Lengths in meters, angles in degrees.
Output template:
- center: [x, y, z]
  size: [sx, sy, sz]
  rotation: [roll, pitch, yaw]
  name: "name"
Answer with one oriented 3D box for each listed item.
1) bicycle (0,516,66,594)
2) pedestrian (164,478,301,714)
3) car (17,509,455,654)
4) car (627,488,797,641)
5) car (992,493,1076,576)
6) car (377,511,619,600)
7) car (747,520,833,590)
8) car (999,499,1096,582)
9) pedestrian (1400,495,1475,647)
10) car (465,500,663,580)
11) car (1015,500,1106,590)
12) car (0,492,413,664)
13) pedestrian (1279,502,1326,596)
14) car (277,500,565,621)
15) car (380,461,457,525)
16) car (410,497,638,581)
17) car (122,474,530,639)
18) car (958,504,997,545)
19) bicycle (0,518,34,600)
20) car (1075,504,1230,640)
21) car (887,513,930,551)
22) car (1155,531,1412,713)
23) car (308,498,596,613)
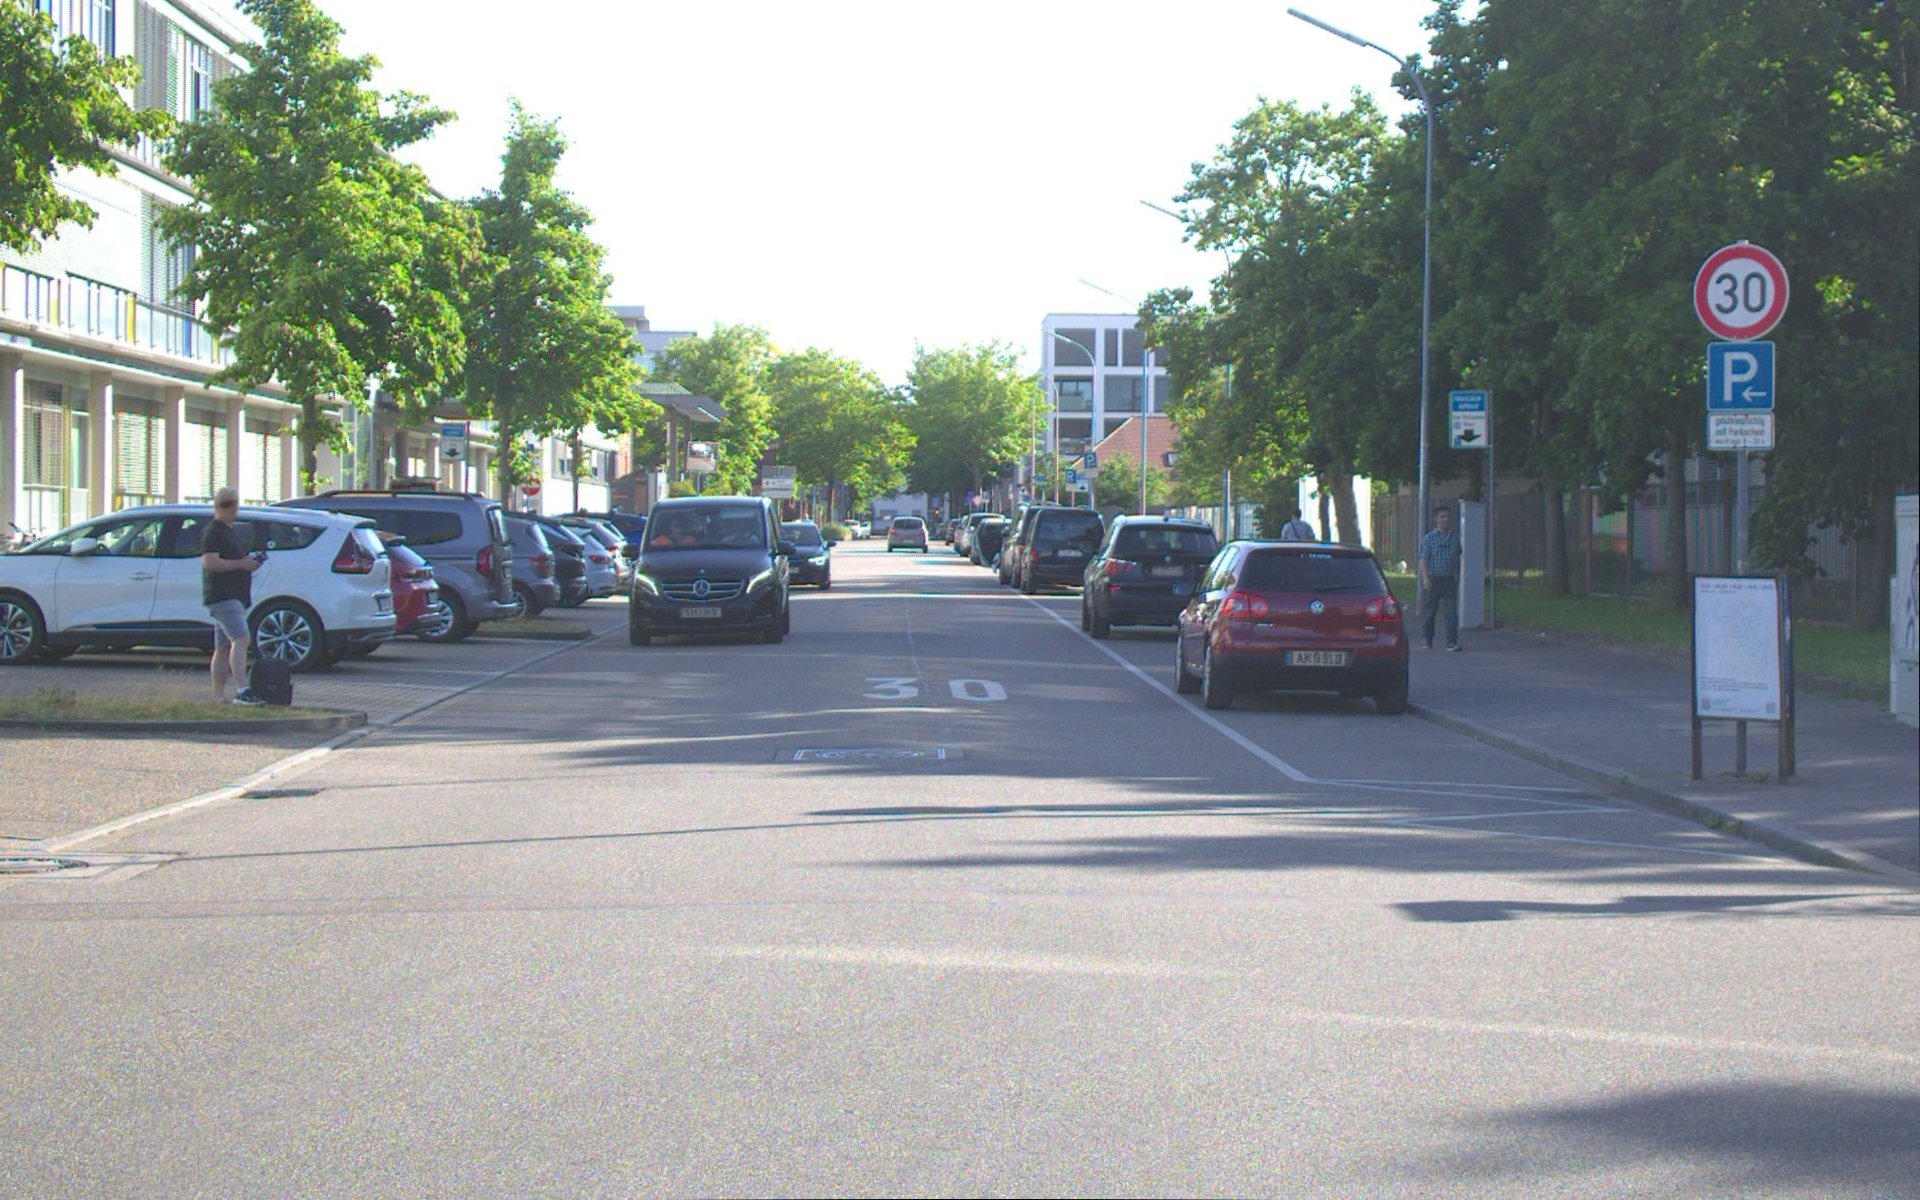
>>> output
- center: [-14.196, -0.691, 51.760]
  size: [0.892, 1.107, 1.889]
  rotation: [2, 2, 3]
  name: "bicycle"
- center: [-5.838, -0.044, 27.623]
  size: [0.858, 1.836, 0.825]
  rotation: [2, 1, 1]
  name: "pedestrian"
- center: [-7.914, -0.218, 37.863]
  size: [4.434, 1.496, 1.827]
  rotation: [1, 1, 0]
  name: "car"
- center: [-3.172, -0.500, 44.819]
  size: [1.955, 1.861, 5.256]
  rotation: [1, 1, -1]
  name: "car"
- center: [1.801, -1.634, 84.650]
  size: [1.874, 1.971, 4.001]
  rotation: [-1, 2, -1]
  name: "car"
- center: [-7.862, -0.767, 58.769]
  size: [3.986, 1.354, 1.743]
  rotation: [2, 1, -5]
  name: "car"
- center: [-3.661, -0.987, 74.378]
  size: [1.703, 1.446, 4.087]
  rotation: [-1, 1, -1]
  name: "car"
- center: [1.966, -1.377, 78.408]
  size: [1.993, 1.816, 4.199]
  rotation: [-1, 2, -1]
  name: "car"
- center: [5.657, -0.354, 40.753]
  size: [0.717, 1.752, 0.885]
  rotation: [-2, 2, 0]
  name: "pedestrian"
- center: [-8.701, -1.326, 75.776]
  size: [4.213, 1.597, 1.872]
  rotation: [2, 1, -5]
  name: "car"
- center: [2.090, -1.182, 72.169]
  size: [1.733, 1.824, 3.906]
  rotation: [1, 1, -1]
  name: "car"
- center: [-8.044, -0.239, 34.938]
  size: [4.612, 1.645, 1.867]
  rotation: [1, 1, 3]
  name: "car"
- center: [6.161, -0.914, 61.812]
  size: [0.698, 1.655, 0.752]
  rotation: [-2, 1, -1]
  name: "pedestrian"
- center: [-7.826, -0.594, 50.216]
  size: [3.986, 1.601, 1.872]
  rotation: [2, 1, -5]
  name: "car"
- center: [-18.043, -3.549, 114.598]
  size: [1.993, 2.007, 4.000]
  rotation: [1, 0, -1]
  name: "car"
- center: [-8.339, -1.172, 65.974]
  size: [4.213, 1.457, 1.872]
  rotation: [2, 1, -5]
  name: "car"
- center: [-7.918, -0.563, 43.219]
  size: [4.742, 1.858, 1.828]
  rotation: [2, 2, 0]
  name: "car"
- center: [0.674, -2.936, 133.114]
  size: [1.436, 1.555, 3.042]
  rotation: [1, 2, -1]
  name: "car"
- center: [-14.014, -0.596, 47.973]
  size: [0.870, 1.149, 2.370]
  rotation: [2, 1, 20]
  name: "bicycle"
- center: [2.588, -0.428, 47.220]
  size: [1.812, 1.660, 4.593]
  rotation: [2, 2, 0]
  name: "car"
- center: [-2.172, -2.891, 144.974]
  size: [1.743, 1.538, 4.000]
  rotation: [1, 1, -1]
  name: "car"
- center: [2.845, 0.140, 31.189]
  size: [1.719, 1.450, 4.653]
  rotation: [2, 1, -2]
  name: "car"
- center: [-7.808, -0.705, 53.170]
  size: [4.245, 1.606, 2.048]
  rotation: [2, 1, -5]
  name: "car"
